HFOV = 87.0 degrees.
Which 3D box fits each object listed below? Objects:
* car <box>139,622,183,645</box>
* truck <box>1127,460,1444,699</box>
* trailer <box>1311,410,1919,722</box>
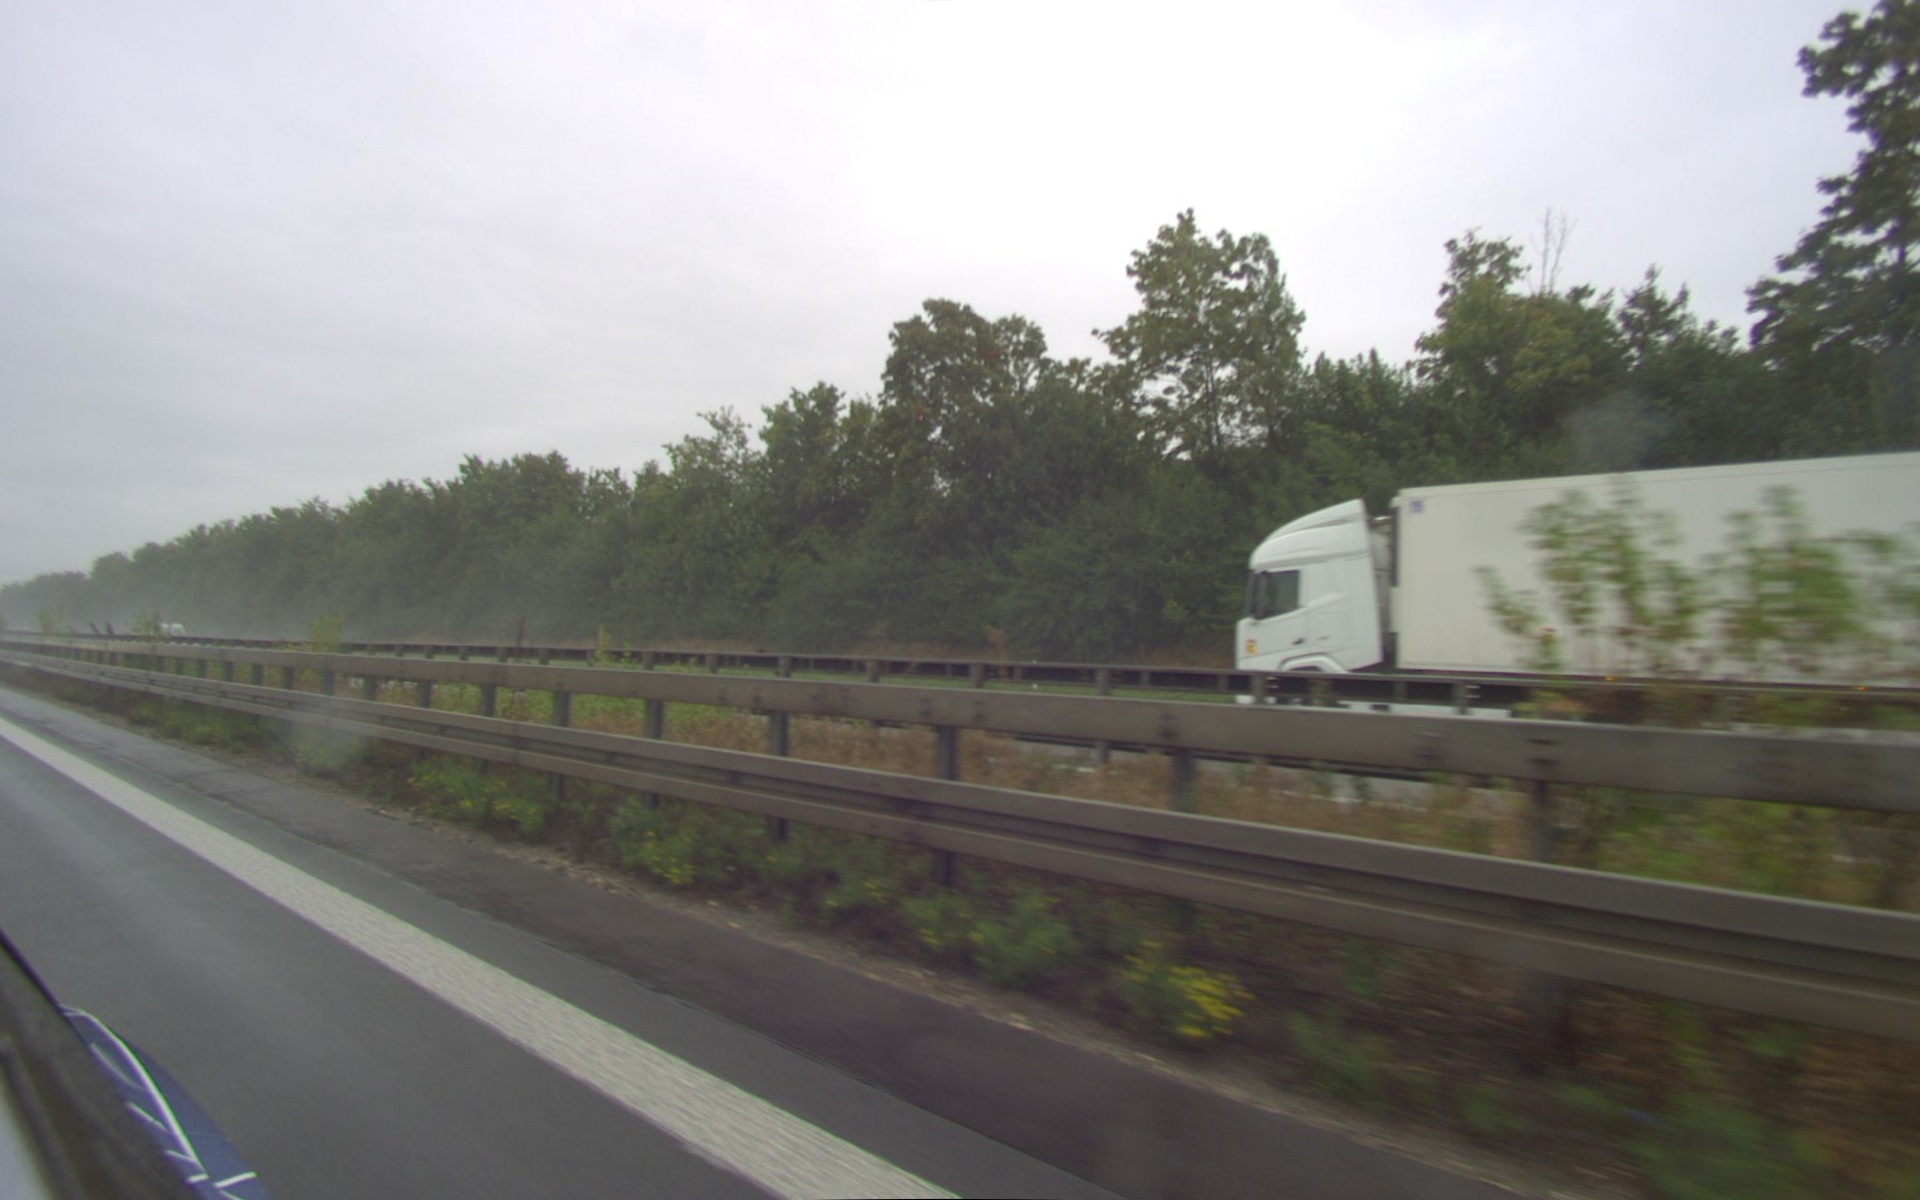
[{"bbox_3d":[-62.130,2.587,78.706,4.660,1.675,1.717,-1,0,39],"label":"car"},{"bbox_3d":[5.881,-0.329,18.740,5.223,3.833,2.022,0,0,42],"label":"truck"},{"bbox_3d":[12.481,-0.423,12.908,15.522,3.800,1.980,-1,-1,42],"label":"trailer"}]
